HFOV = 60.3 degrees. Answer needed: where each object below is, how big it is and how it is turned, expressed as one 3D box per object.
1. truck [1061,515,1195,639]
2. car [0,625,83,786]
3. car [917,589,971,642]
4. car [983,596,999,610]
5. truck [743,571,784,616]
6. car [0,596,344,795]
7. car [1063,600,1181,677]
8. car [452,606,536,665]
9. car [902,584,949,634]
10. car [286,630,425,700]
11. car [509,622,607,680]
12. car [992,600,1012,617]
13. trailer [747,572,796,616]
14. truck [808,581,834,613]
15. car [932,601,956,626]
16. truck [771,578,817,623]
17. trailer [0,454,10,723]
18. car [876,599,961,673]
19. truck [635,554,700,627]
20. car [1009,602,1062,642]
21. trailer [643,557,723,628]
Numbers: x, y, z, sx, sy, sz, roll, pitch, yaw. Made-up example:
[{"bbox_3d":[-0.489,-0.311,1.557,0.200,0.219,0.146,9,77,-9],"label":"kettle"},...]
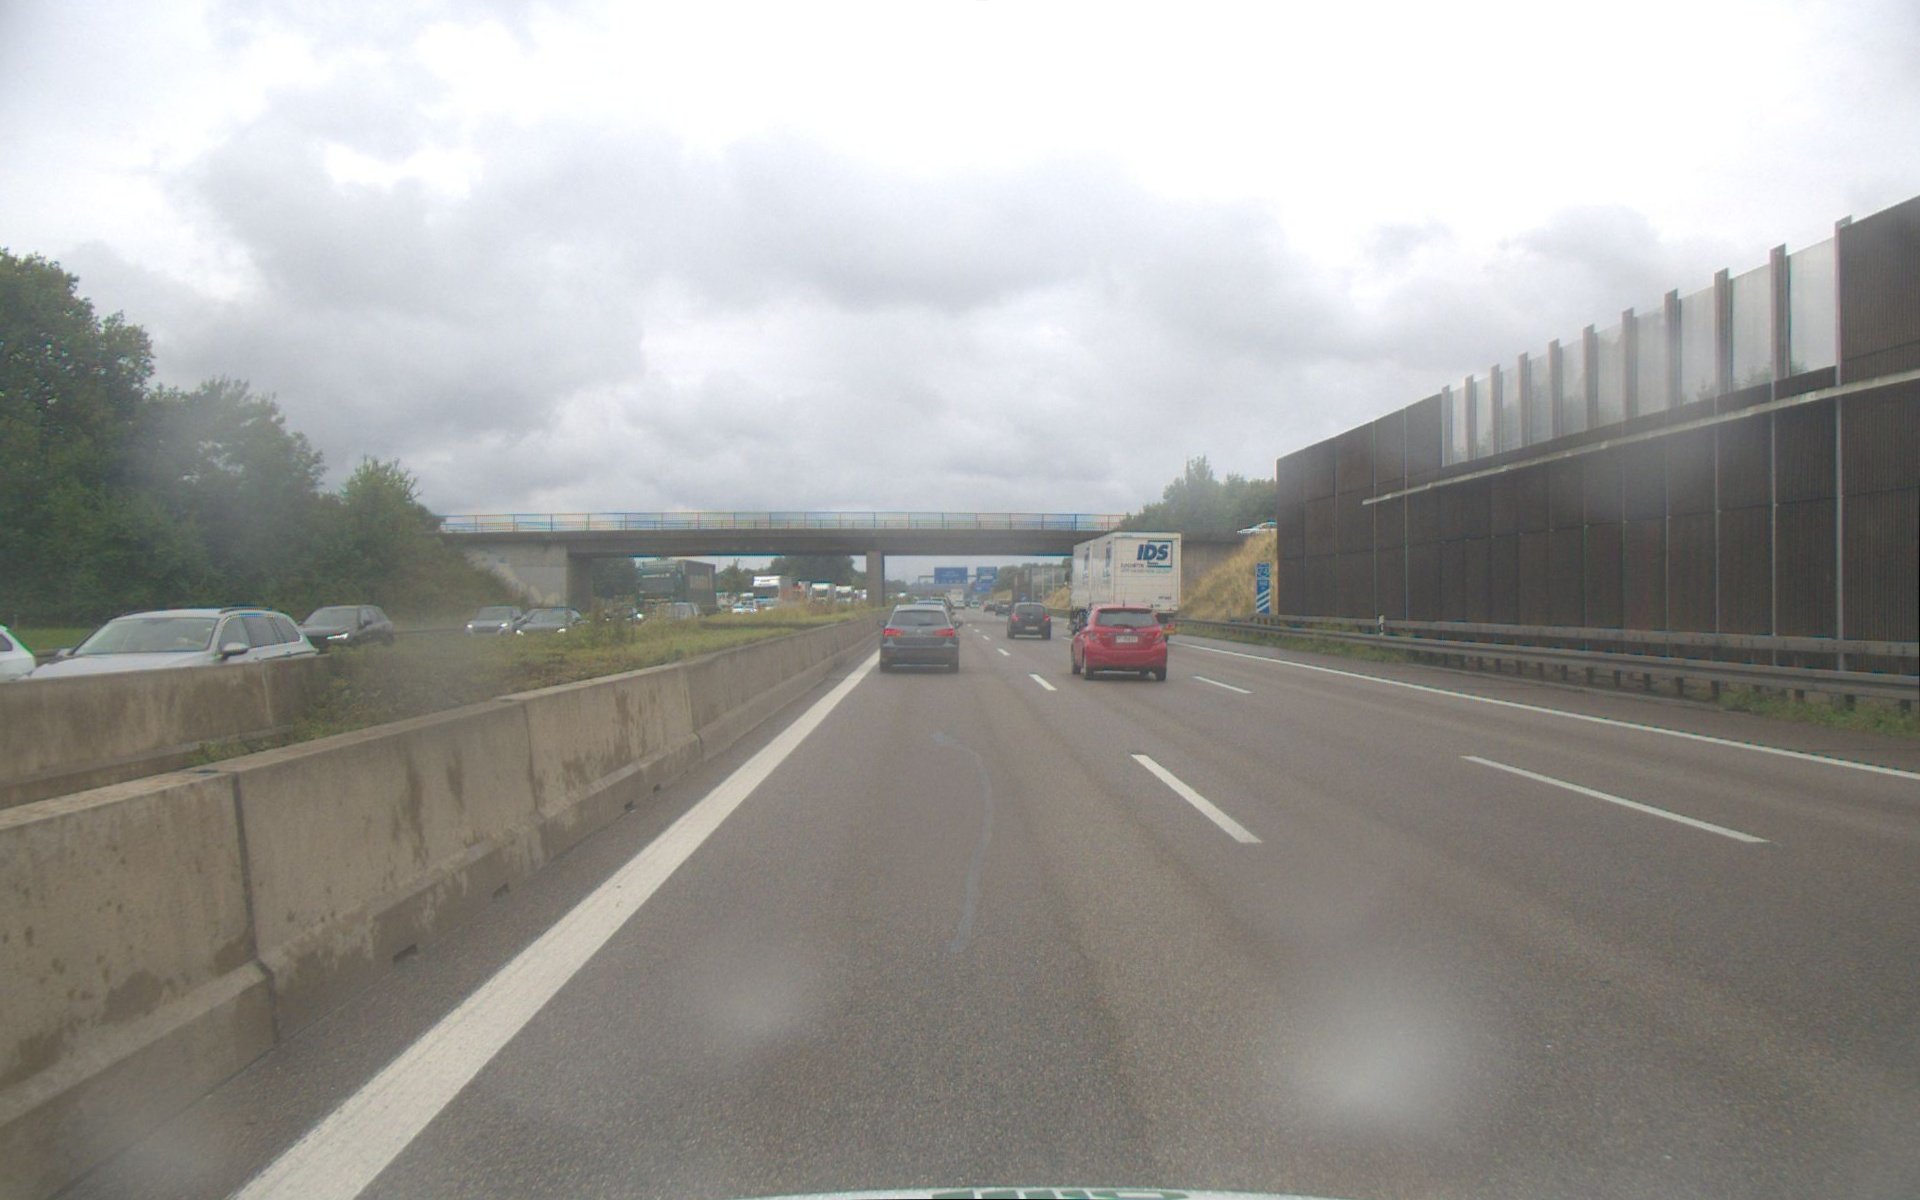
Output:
[{"bbox_3d":[6.627,-0.744,69.029,3.217,4.370,19.027,1,-1,-1],"label":"truck"},{"bbox_3d":[-12.587,1.273,19.367,1.953,1.912,5.031,1,-1,-1],"label":"car"},{"bbox_3d":[-0.622,0.572,62.750,1.953,1.893,3.999,-1,0,-1],"label":"car"},{"bbox_3d":[4.164,0.340,222.331,1.953,1.844,4.227,-1,0,-1],"label":"car"},{"bbox_3d":[-18.719,-0.563,157.612,3.206,4.116,5.291,1,-1,-1],"label":"truck"},{"bbox_3d":[-8.687,0.953,18.492,1.888,1.912,4.589,1,-1,-1],"label":"car"},{"bbox_3d":[3.287,0.750,34.462,1.853,1.472,4.683,0,0,-2],"label":"car"},{"bbox_3d":[-17.152,1.273,61.050,1.953,2.049,3.999,-1,0,-1],"label":"car"},{"bbox_3d":[-1.373,0.353,65.681,1.789,1.883,3.999,-1,0,-1],"label":"car"},{"bbox_3d":[-16.827,1.757,46.342,2.050,1.740,4.961,0,0,0],"label":"car"},{"bbox_3d":[-13.210,1.652,54.653,2.050,1.740,4.800,0,0,0],"label":"car"},{"bbox_3d":[4.341,0.912,170.480,1.808,1.716,3.998,1,-1,-2],"label":"car"},{"bbox_3d":[-18.795,-0.501,165.883,3.256,4.048,15.741,1,-1,-1],"label":"trailer"},{"bbox_3d":[-19.562,-0.409,233.189,2.916,4.394,9.667,1,-1,0],"label":"truck"},{"bbox_3d":[-1.216,0.998,126.648,1.670,1.828,3.853,-1,0,-3],"label":"car"},{"bbox_3d":[-19.497,0.103,195.094,3.951,5.031,14.430,1,-1,-1],"label":"truck"},{"bbox_3d":[-16.836,-0.279,18.884,2.937,4.316,15.704,1,-1,-1],"label":"trailer"},{"bbox_3d":[-0.906,0.759,36.356,1.733,1.493,3.999,1,-1,-1],"label":"car"},{"bbox_3d":[-17.295,-0.506,98.107,2.701,4.121,6.253,1,-1,-1],"label":"truck"},{"bbox_3d":[3.062,0.865,67.996,1.882,1.548,4.621,0,0,-1],"label":"car"},{"bbox_3d":[-17.395,-0.365,104.960,2.701,4.121,14.516,1,-1,-1],"label":"trailer"}]
